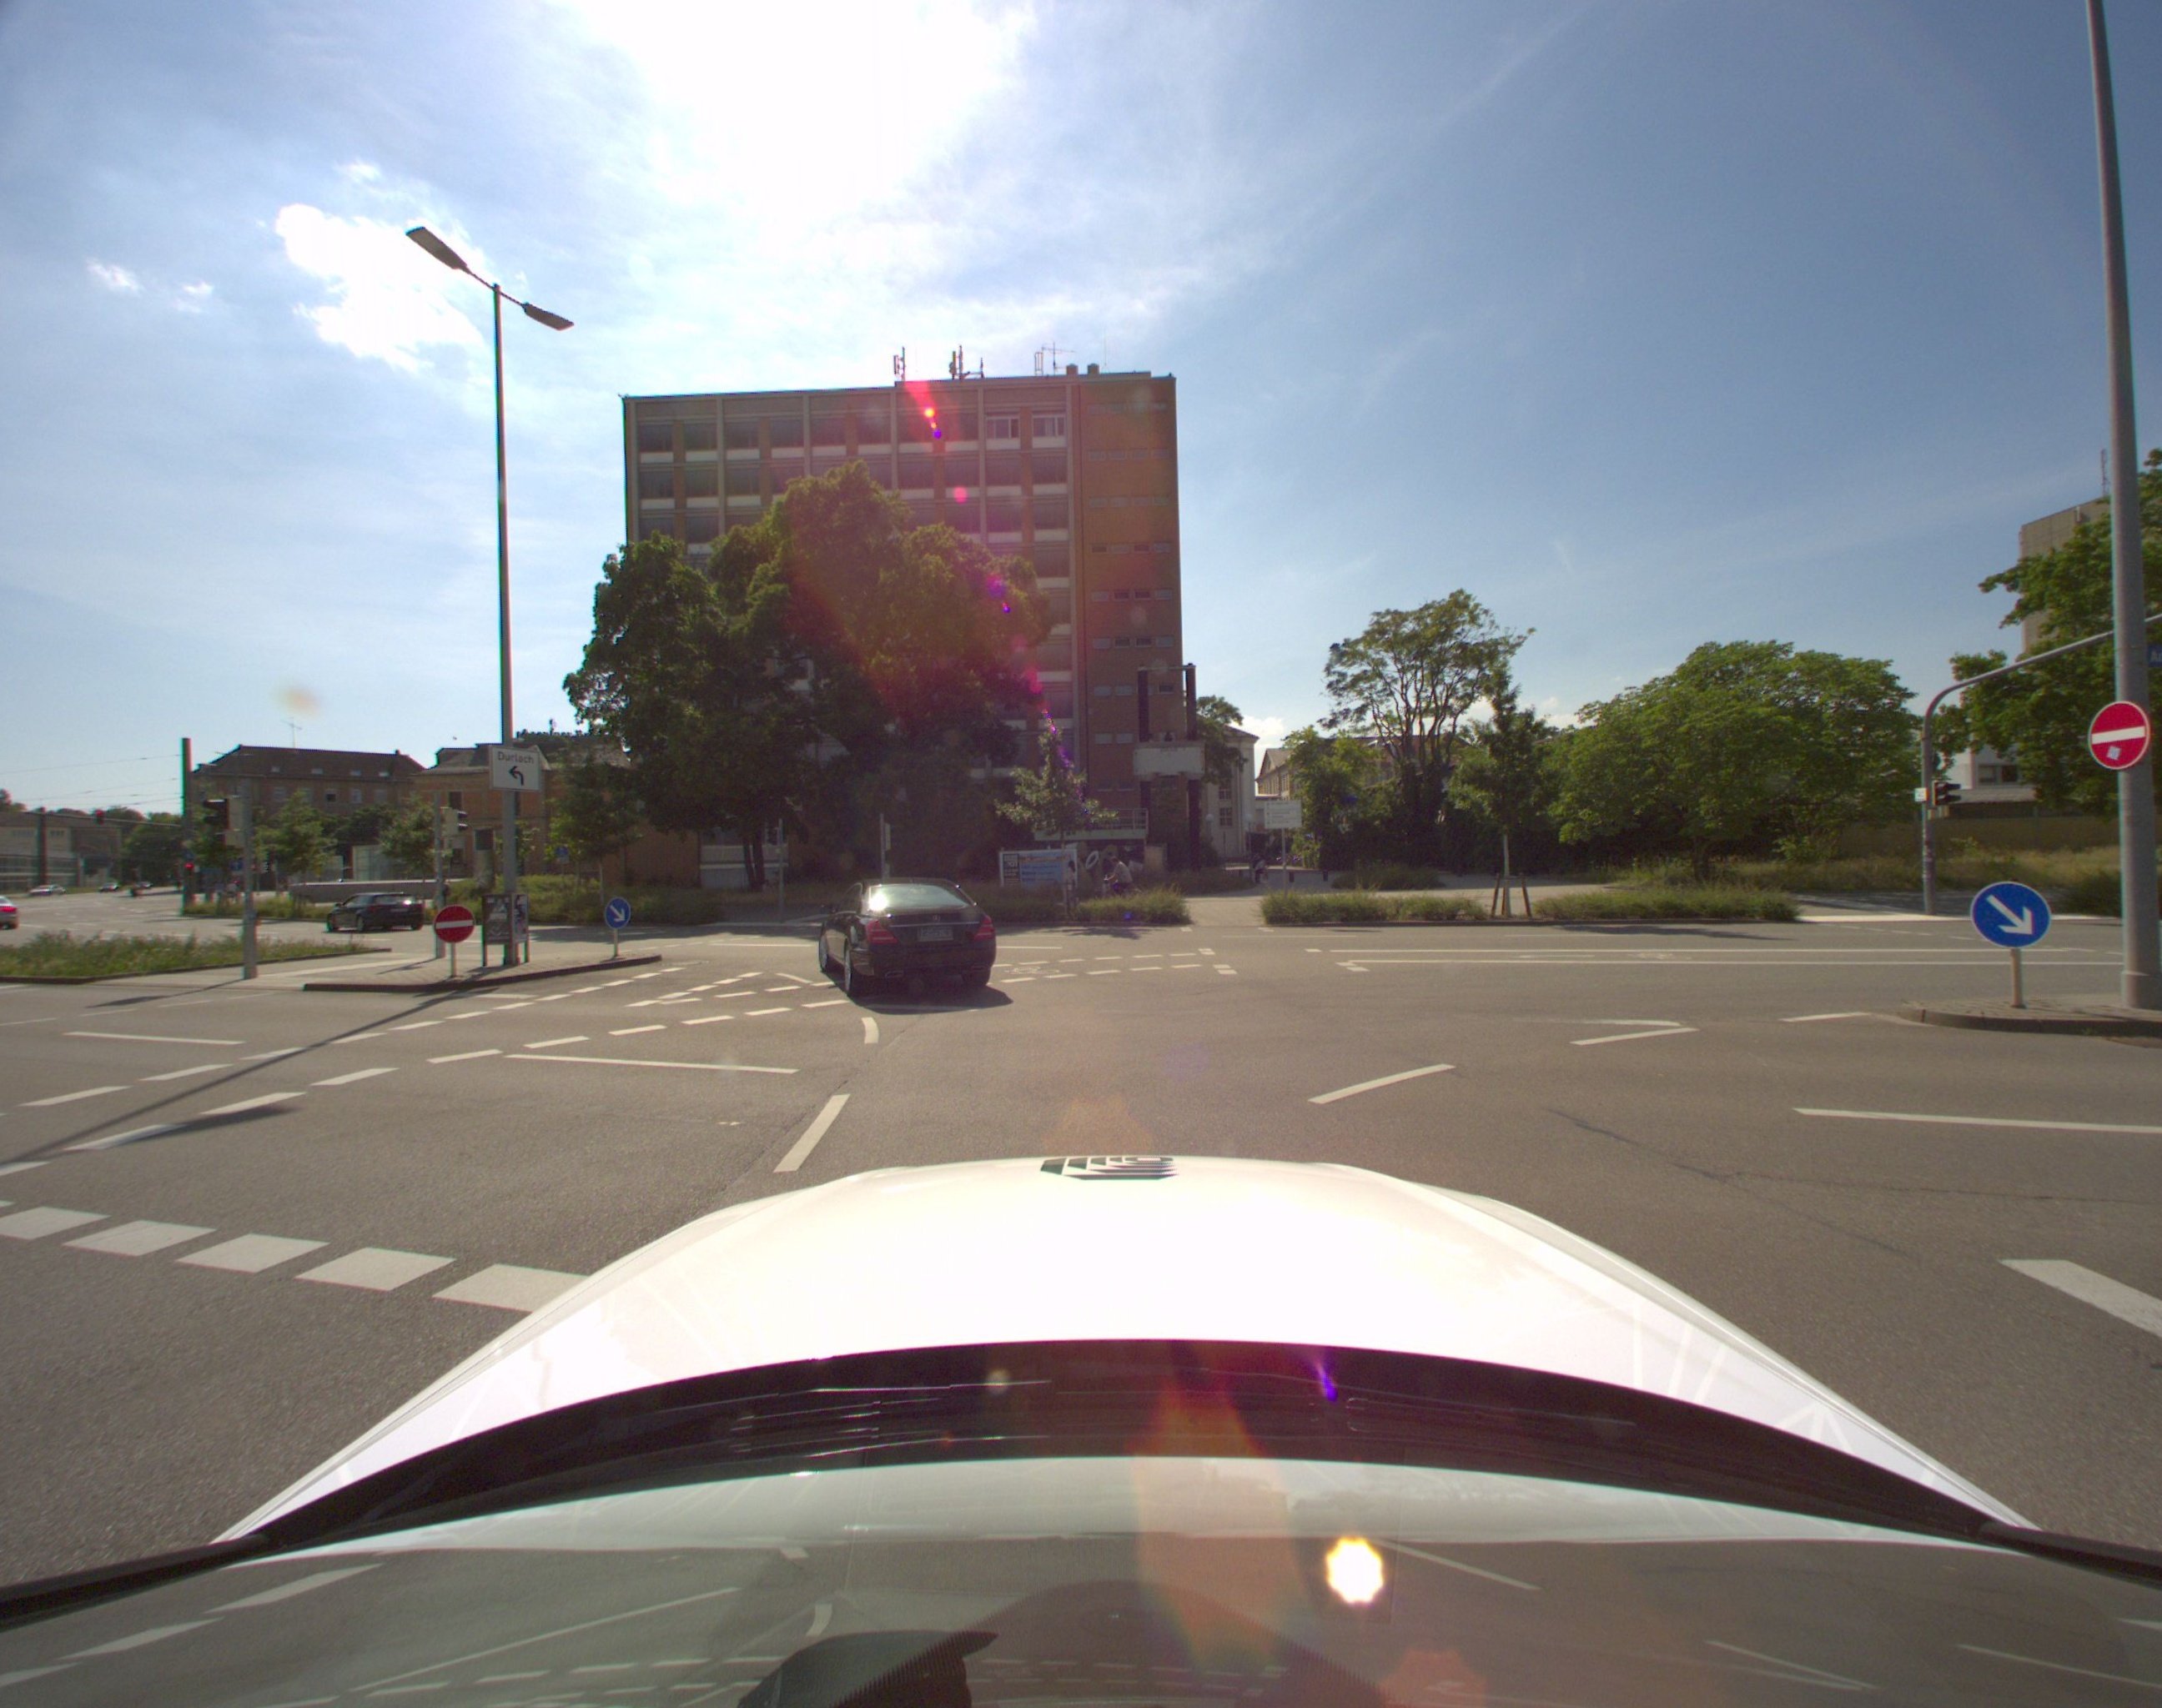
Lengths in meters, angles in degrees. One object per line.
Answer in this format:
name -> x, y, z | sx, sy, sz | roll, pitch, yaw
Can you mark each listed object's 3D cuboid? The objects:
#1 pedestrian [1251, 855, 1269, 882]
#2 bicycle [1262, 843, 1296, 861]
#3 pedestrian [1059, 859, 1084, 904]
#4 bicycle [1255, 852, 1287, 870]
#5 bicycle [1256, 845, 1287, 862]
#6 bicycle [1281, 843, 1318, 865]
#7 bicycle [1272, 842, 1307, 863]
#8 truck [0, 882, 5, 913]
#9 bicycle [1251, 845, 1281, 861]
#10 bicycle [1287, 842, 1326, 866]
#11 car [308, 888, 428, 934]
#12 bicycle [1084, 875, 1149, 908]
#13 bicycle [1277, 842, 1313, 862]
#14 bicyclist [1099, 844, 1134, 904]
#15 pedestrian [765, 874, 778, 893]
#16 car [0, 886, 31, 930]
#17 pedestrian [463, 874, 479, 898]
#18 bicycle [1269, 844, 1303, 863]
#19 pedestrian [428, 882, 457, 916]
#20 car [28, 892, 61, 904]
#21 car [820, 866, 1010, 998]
pedestrian -> 8.466, 0.682, 38.627 | 0.788, 1.213, 0.759 | 1, 0, 10
bicycle -> 17.902, -0.197, 73.609 | 2.811, 1.507, 0.842 | -2, 0, 2
pedestrian -> -0.346, 0.992, 29.503 | 0.807, 1.579, 0.693 | -2, -1, 5
bicycle -> 17.982, 0.684, 76.992 | 2.811, 1.559, 0.842 | -2, 0, 2
bicycle -> 18.452, -0.058, 78.901 | 2.811, 1.500, 0.842 | -2, 0, 2
bicycle -> 18.237, -0.031, 68.124 | 2.811, 1.744, 0.842 | -2, 0, 2
bicycle -> 18.051, -0.149, 70.598 | 2.811, 1.659, 0.842 | -2, 1, 2
truck -> -133.941, 5.350, 97.109 | 3.075, 3.730, 7.873 | -1, -1, -21
bicycle -> 18.313, -0.081, 80.626 | 2.811, 1.480, 0.842 | -2, 0, 2
bicycle -> 18.233, -0.040, 65.860 | 2.811, 1.836, 0.842 | -2, 0, 2
car -> -25.811, 2.050, 29.482 | 3.950, 1.510, 1.810 | -2, -2, 25
bicycle -> 1.149, 1.216, 26.403 | 1.935, 0.946, 0.698 | -4, 0, 21
bicycle -> 18.230, -0.181, 69.457 | 2.811, 1.649, 0.842 | -2, 0, 2
bicyclist -> 1.148, 0.643, 26.397 | 0.849, 1.878, 0.692 | -4, 0, 21
pedestrian -> -15.009, 1.440, 39.542 | 0.425, 0.892, 0.394 | -2, -1, 12
car -> -47.648, 2.370, 35.175 | 3.950, 1.816, 2.012 | -2, -1, 25
pedestrian -> -43.174, 2.281, 57.657 | 0.644, 1.661, 0.652 | -2, -1, 11
bicycle -> 18.027, -0.016, 71.669 | 2.811, 1.587, 0.842 | -2, 0, 2
pedestrian -> -32.473, 2.285, 41.444 | 0.790, 1.725, 0.879 | -2, -1, 26
car -> -142.472, 6.046, 111.959 | 1.808, 1.510, 3.955 | -1, -1, -37
car -> -2.643, 1.003, 11.979 | 1.866, 1.530, 4.677 | 1, -3, -23
